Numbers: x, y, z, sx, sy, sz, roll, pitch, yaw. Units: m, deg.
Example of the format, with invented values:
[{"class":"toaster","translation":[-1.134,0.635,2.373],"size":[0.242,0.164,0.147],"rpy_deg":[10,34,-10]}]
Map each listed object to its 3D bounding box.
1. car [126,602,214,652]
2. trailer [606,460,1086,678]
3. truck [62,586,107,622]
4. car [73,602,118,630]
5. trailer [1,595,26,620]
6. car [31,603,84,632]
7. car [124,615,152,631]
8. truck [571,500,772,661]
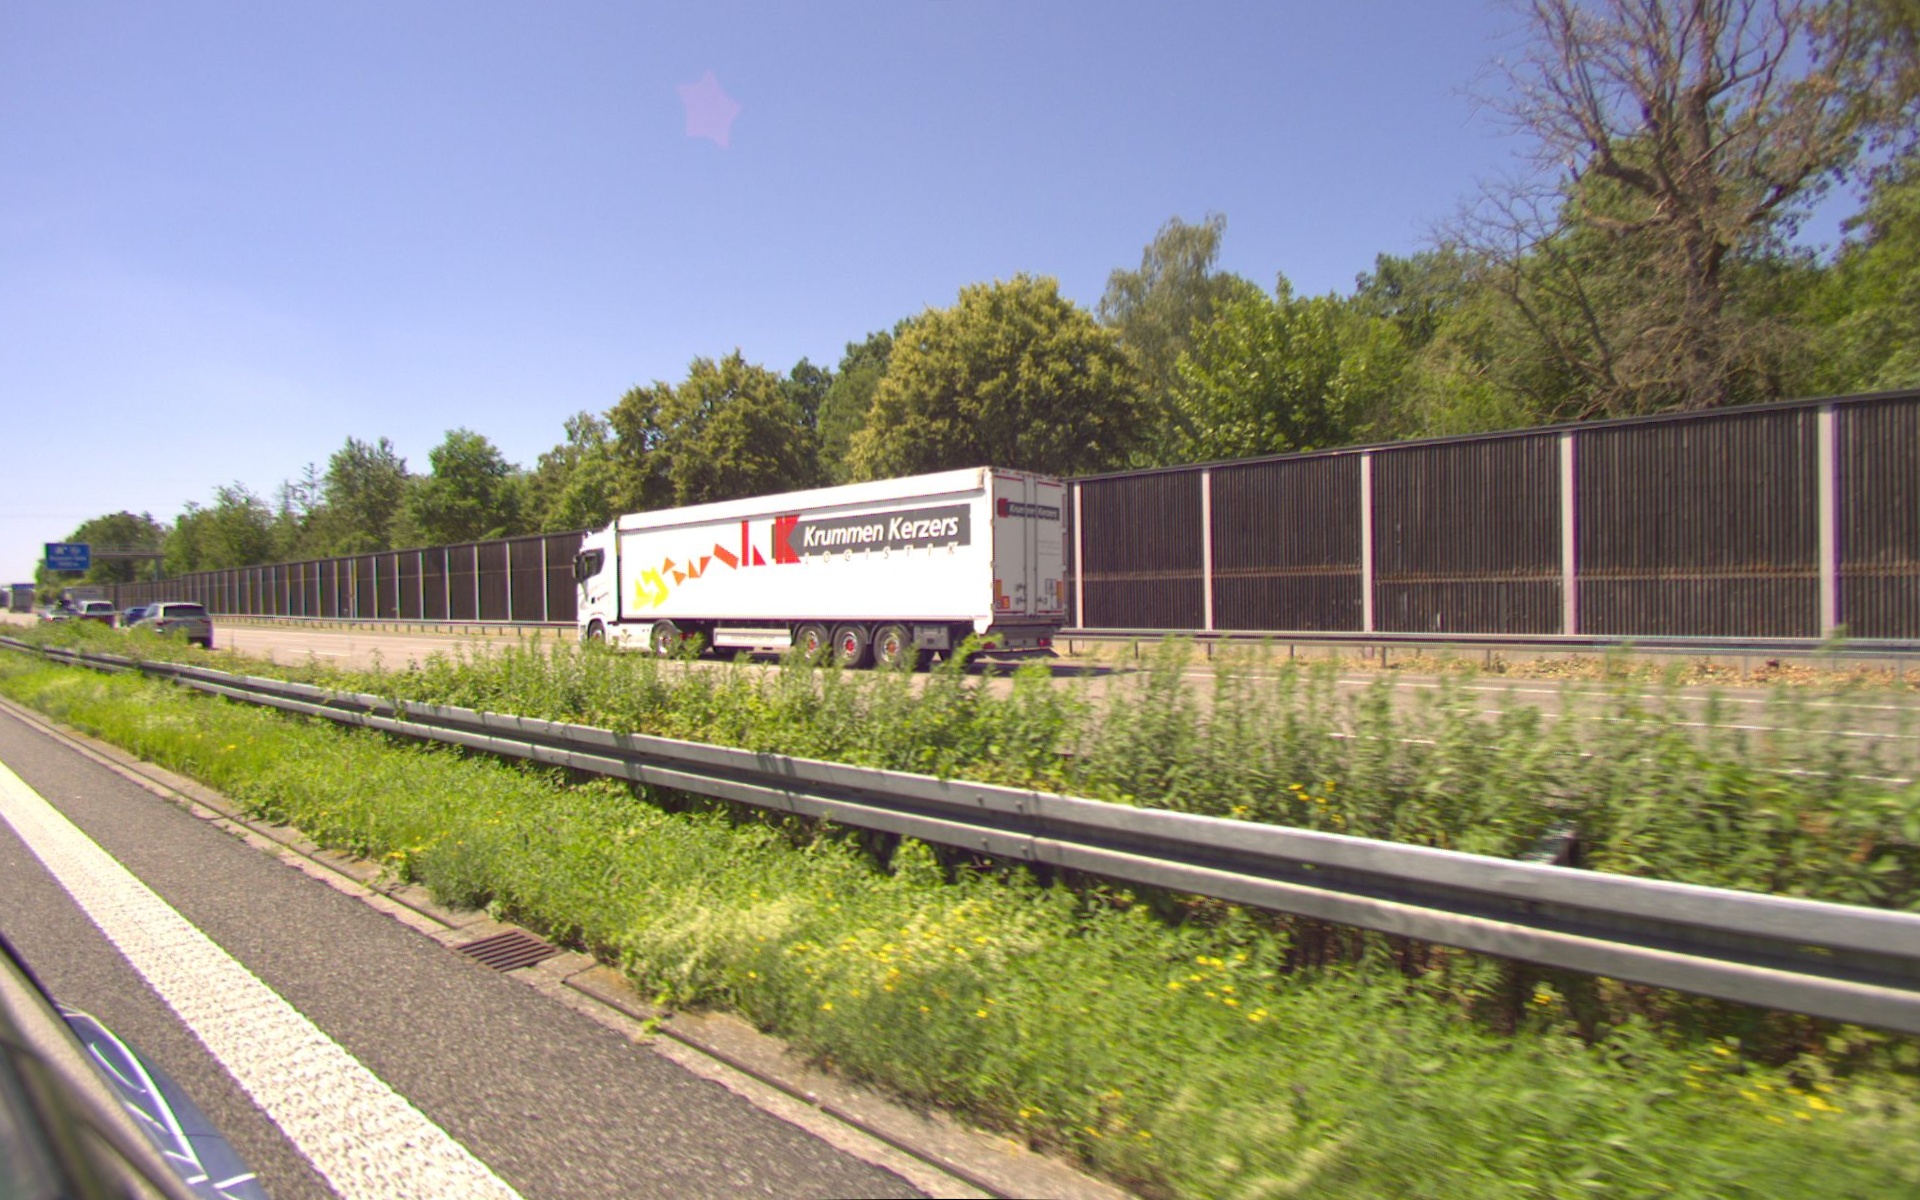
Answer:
[{"class":"car","translation":[-27.979,0.925,35.805],"size":[4.037,1.664,1.747],"rpy_deg":[-1,-1,42]},{"class":"trailer","translation":[-3.676,-0.538,24.813],"size":[14.383,4.105,2.725],"rpy_deg":[-1,0,41]},{"class":"truck","translation":[-92.081,0.440,106.348],"size":[8.747,3.637,2.801],"rpy_deg":[-1,0,44]},{"class":"car","translation":[-63.063,1.174,73.810],"size":[4.608,1.960,1.906],"rpy_deg":[-1,0,42]},{"class":"trailer","translation":[-163.905,1.314,175.155],"size":[13.656,4.167,2.457],"rpy_deg":[-1,0,44]},{"class":"car","translation":[-50.589,0.974,56.697],"size":[4.359,1.555,1.695],"rpy_deg":[-1,-1,41]},{"class":"car","translation":[-66.407,1.864,81.725],"size":[3.028,1.264,1.266],"rpy_deg":[-1,0,42]},{"class":"truck","translation":[-8.355,-0.491,28.950],"size":[6.033,4.114,2.702],"rpy_deg":[-1,0,41]}]
